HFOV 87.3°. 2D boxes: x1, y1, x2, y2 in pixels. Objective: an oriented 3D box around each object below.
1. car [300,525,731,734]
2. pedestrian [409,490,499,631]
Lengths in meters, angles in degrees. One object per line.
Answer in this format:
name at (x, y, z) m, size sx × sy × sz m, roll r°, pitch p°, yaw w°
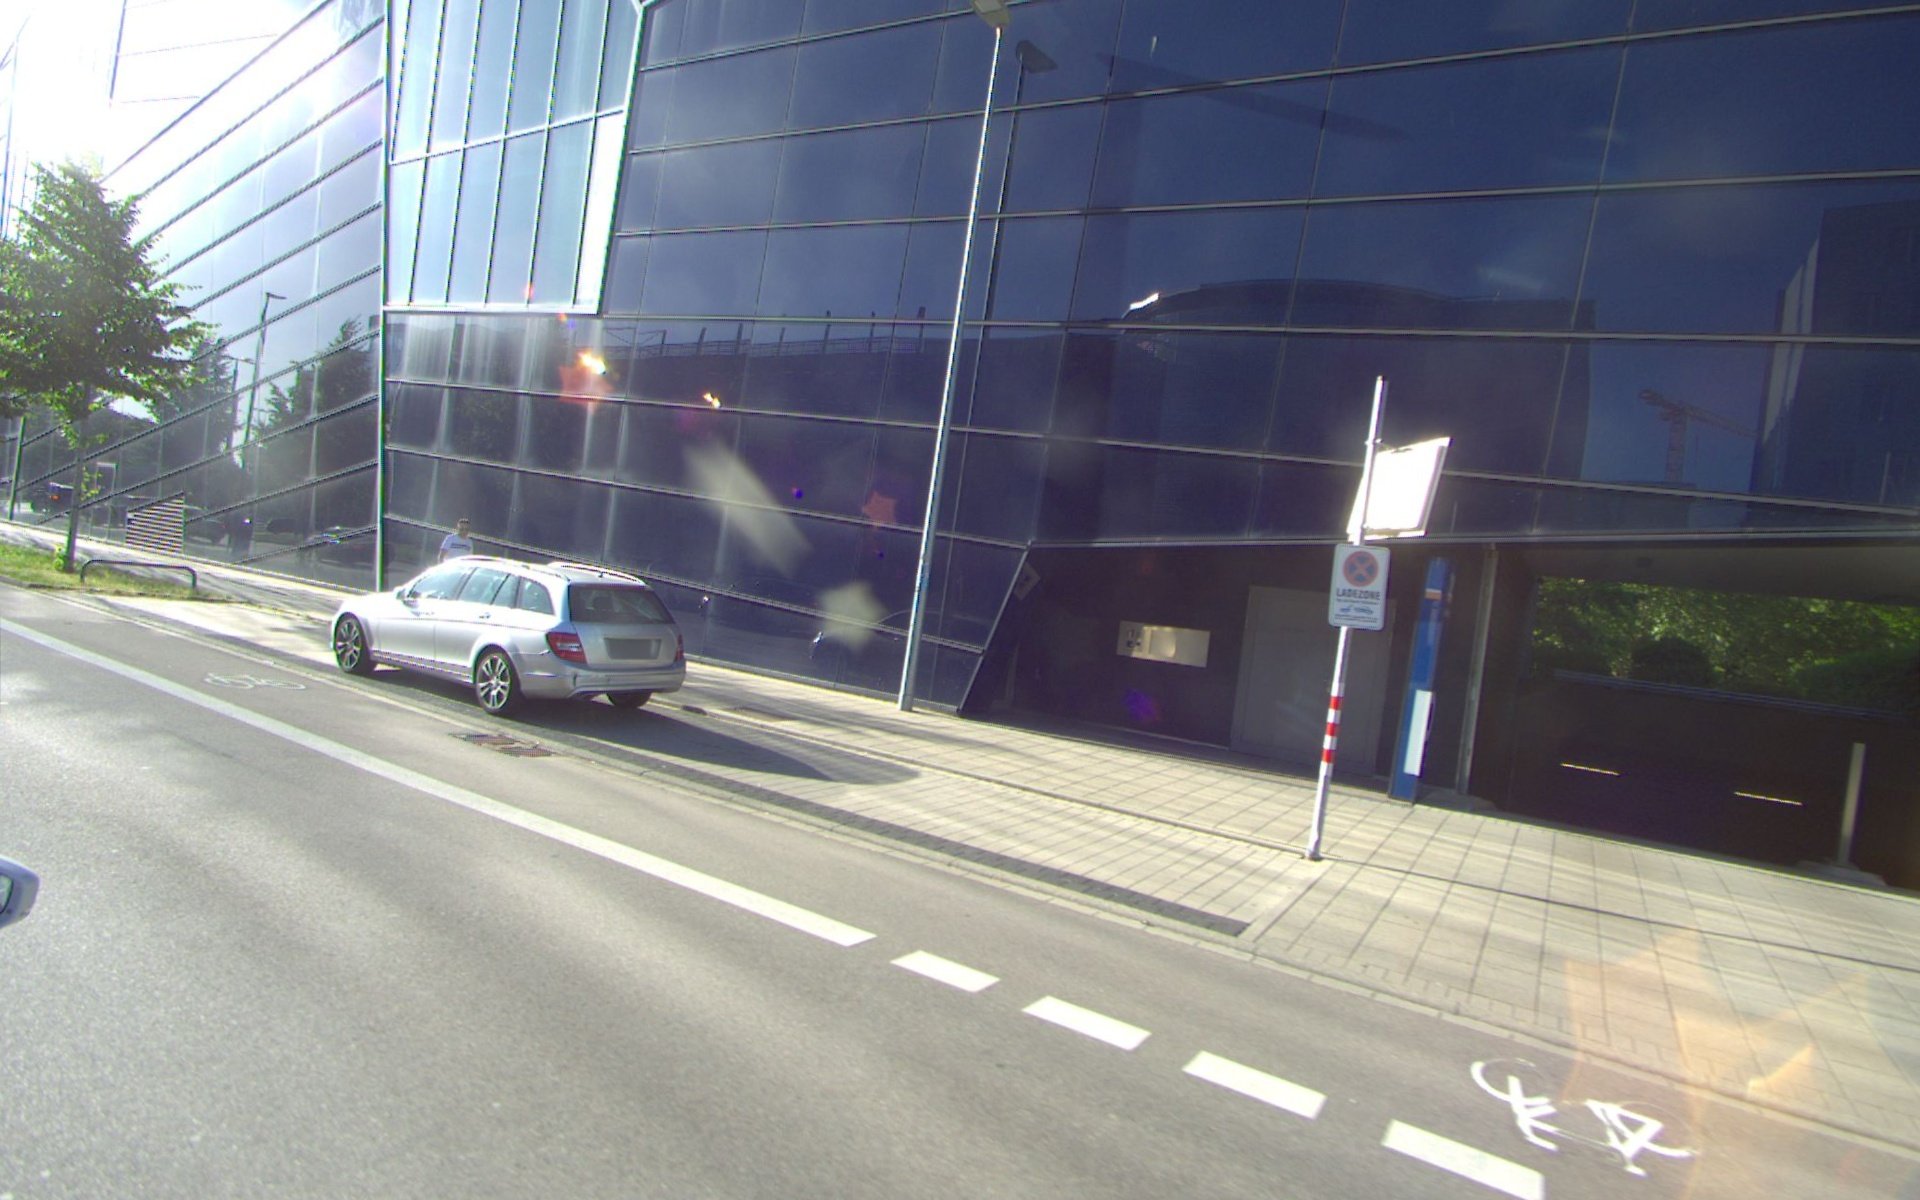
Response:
car at (-4.958, 0.214, 10.978) m, size 4.773 × 1.500 × 1.854 m, roll 8°, pitch 2°, yaw 32°
pedestrian at (-7.750, -0.595, 15.426) m, size 0.678 × 2.039 × 0.837 m, roll 8°, pitch 2°, yaw 33°
